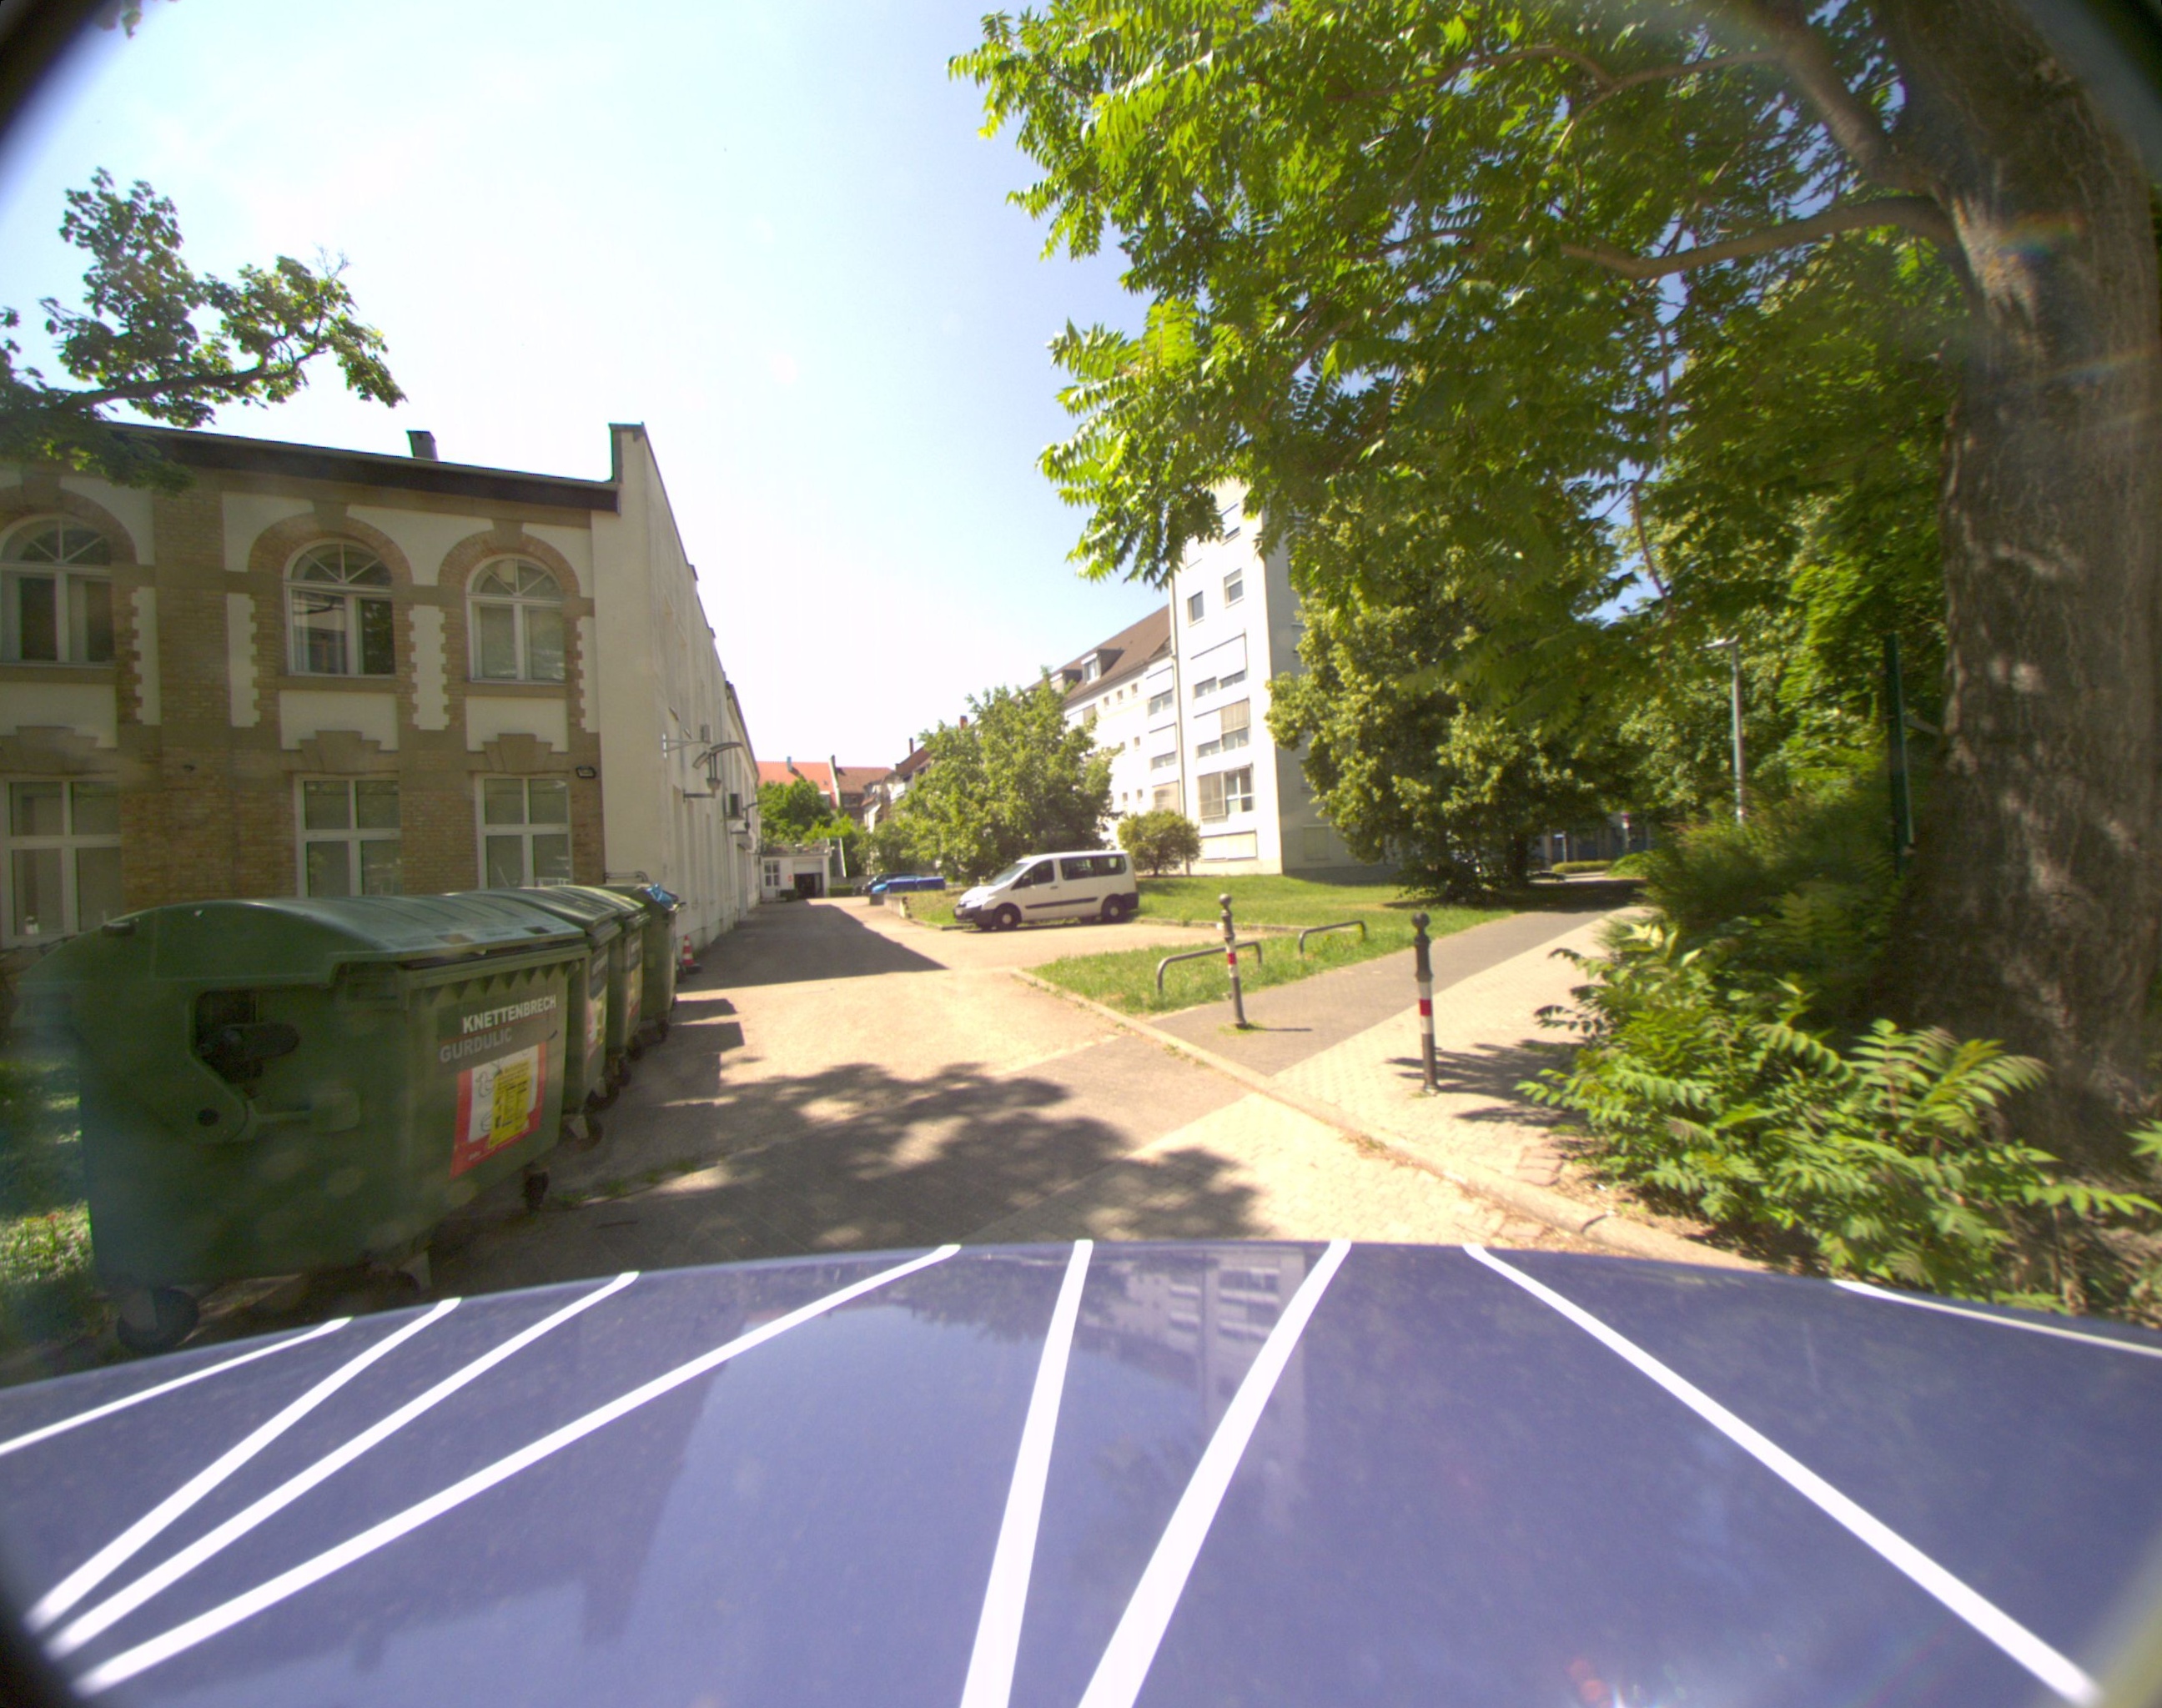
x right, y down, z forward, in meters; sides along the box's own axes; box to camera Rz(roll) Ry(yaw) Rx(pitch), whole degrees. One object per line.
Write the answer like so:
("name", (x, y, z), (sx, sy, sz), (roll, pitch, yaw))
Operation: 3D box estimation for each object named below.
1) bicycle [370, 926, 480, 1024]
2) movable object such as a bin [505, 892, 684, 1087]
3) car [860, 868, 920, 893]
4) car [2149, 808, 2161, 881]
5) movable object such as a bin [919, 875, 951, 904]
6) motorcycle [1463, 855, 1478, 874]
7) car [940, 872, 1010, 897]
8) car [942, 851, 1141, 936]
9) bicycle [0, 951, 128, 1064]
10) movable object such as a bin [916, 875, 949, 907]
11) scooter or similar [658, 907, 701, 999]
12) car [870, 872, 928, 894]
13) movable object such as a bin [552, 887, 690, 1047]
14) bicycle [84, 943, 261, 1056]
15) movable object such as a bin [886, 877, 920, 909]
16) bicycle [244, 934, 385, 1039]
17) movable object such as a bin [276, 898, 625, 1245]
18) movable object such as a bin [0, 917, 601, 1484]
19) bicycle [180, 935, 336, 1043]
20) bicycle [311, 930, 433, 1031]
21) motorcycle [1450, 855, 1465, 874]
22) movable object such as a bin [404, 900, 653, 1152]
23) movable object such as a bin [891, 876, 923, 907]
("bicycle", (-8.787, 1.572, 10.259), (0.455, 1.061, 1.833), (-3, -1, -20))
("movable object such as a bin", (-4.366, 1.135, 6.976), (1.184, 1.461, 1.309), (-3, 1, -27))
("car", (-15.909, 2.194, 63.336), (4.456, 1.821, 1.996), (-3, 0, -24))
("car", (25.450, -0.279, 15.565), (1.849, 1.625, 3.783), (-3, 0, -21))
("movable object such as a bin", (-6.924, 1.673, 36.053), (1.259, 1.320, 1.102), (-3, 0, -21))
("motorcycle", (25.743, 0.711, 50.215), (0.698, 1.161, 2.315), (-3, 0, 30))
("car", (-6.634, 1.897, 47.690), (4.005, 1.428, 1.708), (-2, -1, -25))
("car", (-1.034, 0.996, 20.187), (4.810, 1.899, 1.997), (-2, -2, -26))
("bicycle", (-12.236, 1.769, 8.837), (0.523, 1.096, 1.833), (-3, -1, -20))
("movable object such as a bin", (-6.702, 1.647, 34.281), (1.259, 1.320, 1.102), (-3, 0, -21))
("scooter or similar", (-5.808, 1.385, 10.961), (0.466, 1.167, 1.354), (-3, 0, -29))
("car", (-14.558, 2.286, 60.789), (4.175, 1.544, 1.856), (-2, -1, -26))
("movable object such as a bin", (-5.120, 1.172, 8.542), (1.160, 1.497, 1.459), (-3, 1, -30))
("bicycle", (-11.037, 1.717, 9.325), (0.505, 1.061, 1.833), (-3, -1, -20))
("movable object such as a bin", (-7.929, 1.711, 33.783), (1.259, 1.320, 1.102), (-3, 0, -21))
("bicycle", (-9.806, 1.640, 9.807), (0.505, 1.061, 1.833), (-3, -1, -20))
("movable object such as a bin", (-3.392, 1.051, 4.329), (1.184, 1.461, 1.309), (-3, 1, -26))
("movable object such as a bin", (-2.829, 1.059, 2.898), (1.183, 1.461, 1.332), (-3, 1, -10))
("bicycle", (-10.352, 1.646, 9.645), (0.505, 1.061, 1.832), (-3, -1, -20))
("bicycle", (-9.294, 1.608, 10.040), (0.455, 1.061, 1.833), (-3, -1, -20))
("motorcycle", (25.049, 0.702, 50.561), (0.698, 1.161, 2.307), (-3, 0, 30))
("movable object such as a bin", (-3.969, 1.143, 5.648), (1.184, 1.461, 1.309), (-3, 1, -25))
("movable object such as a bin", (-8.135, 1.737, 35.543), (1.259, 1.320, 1.102), (-3, 0, -21))
